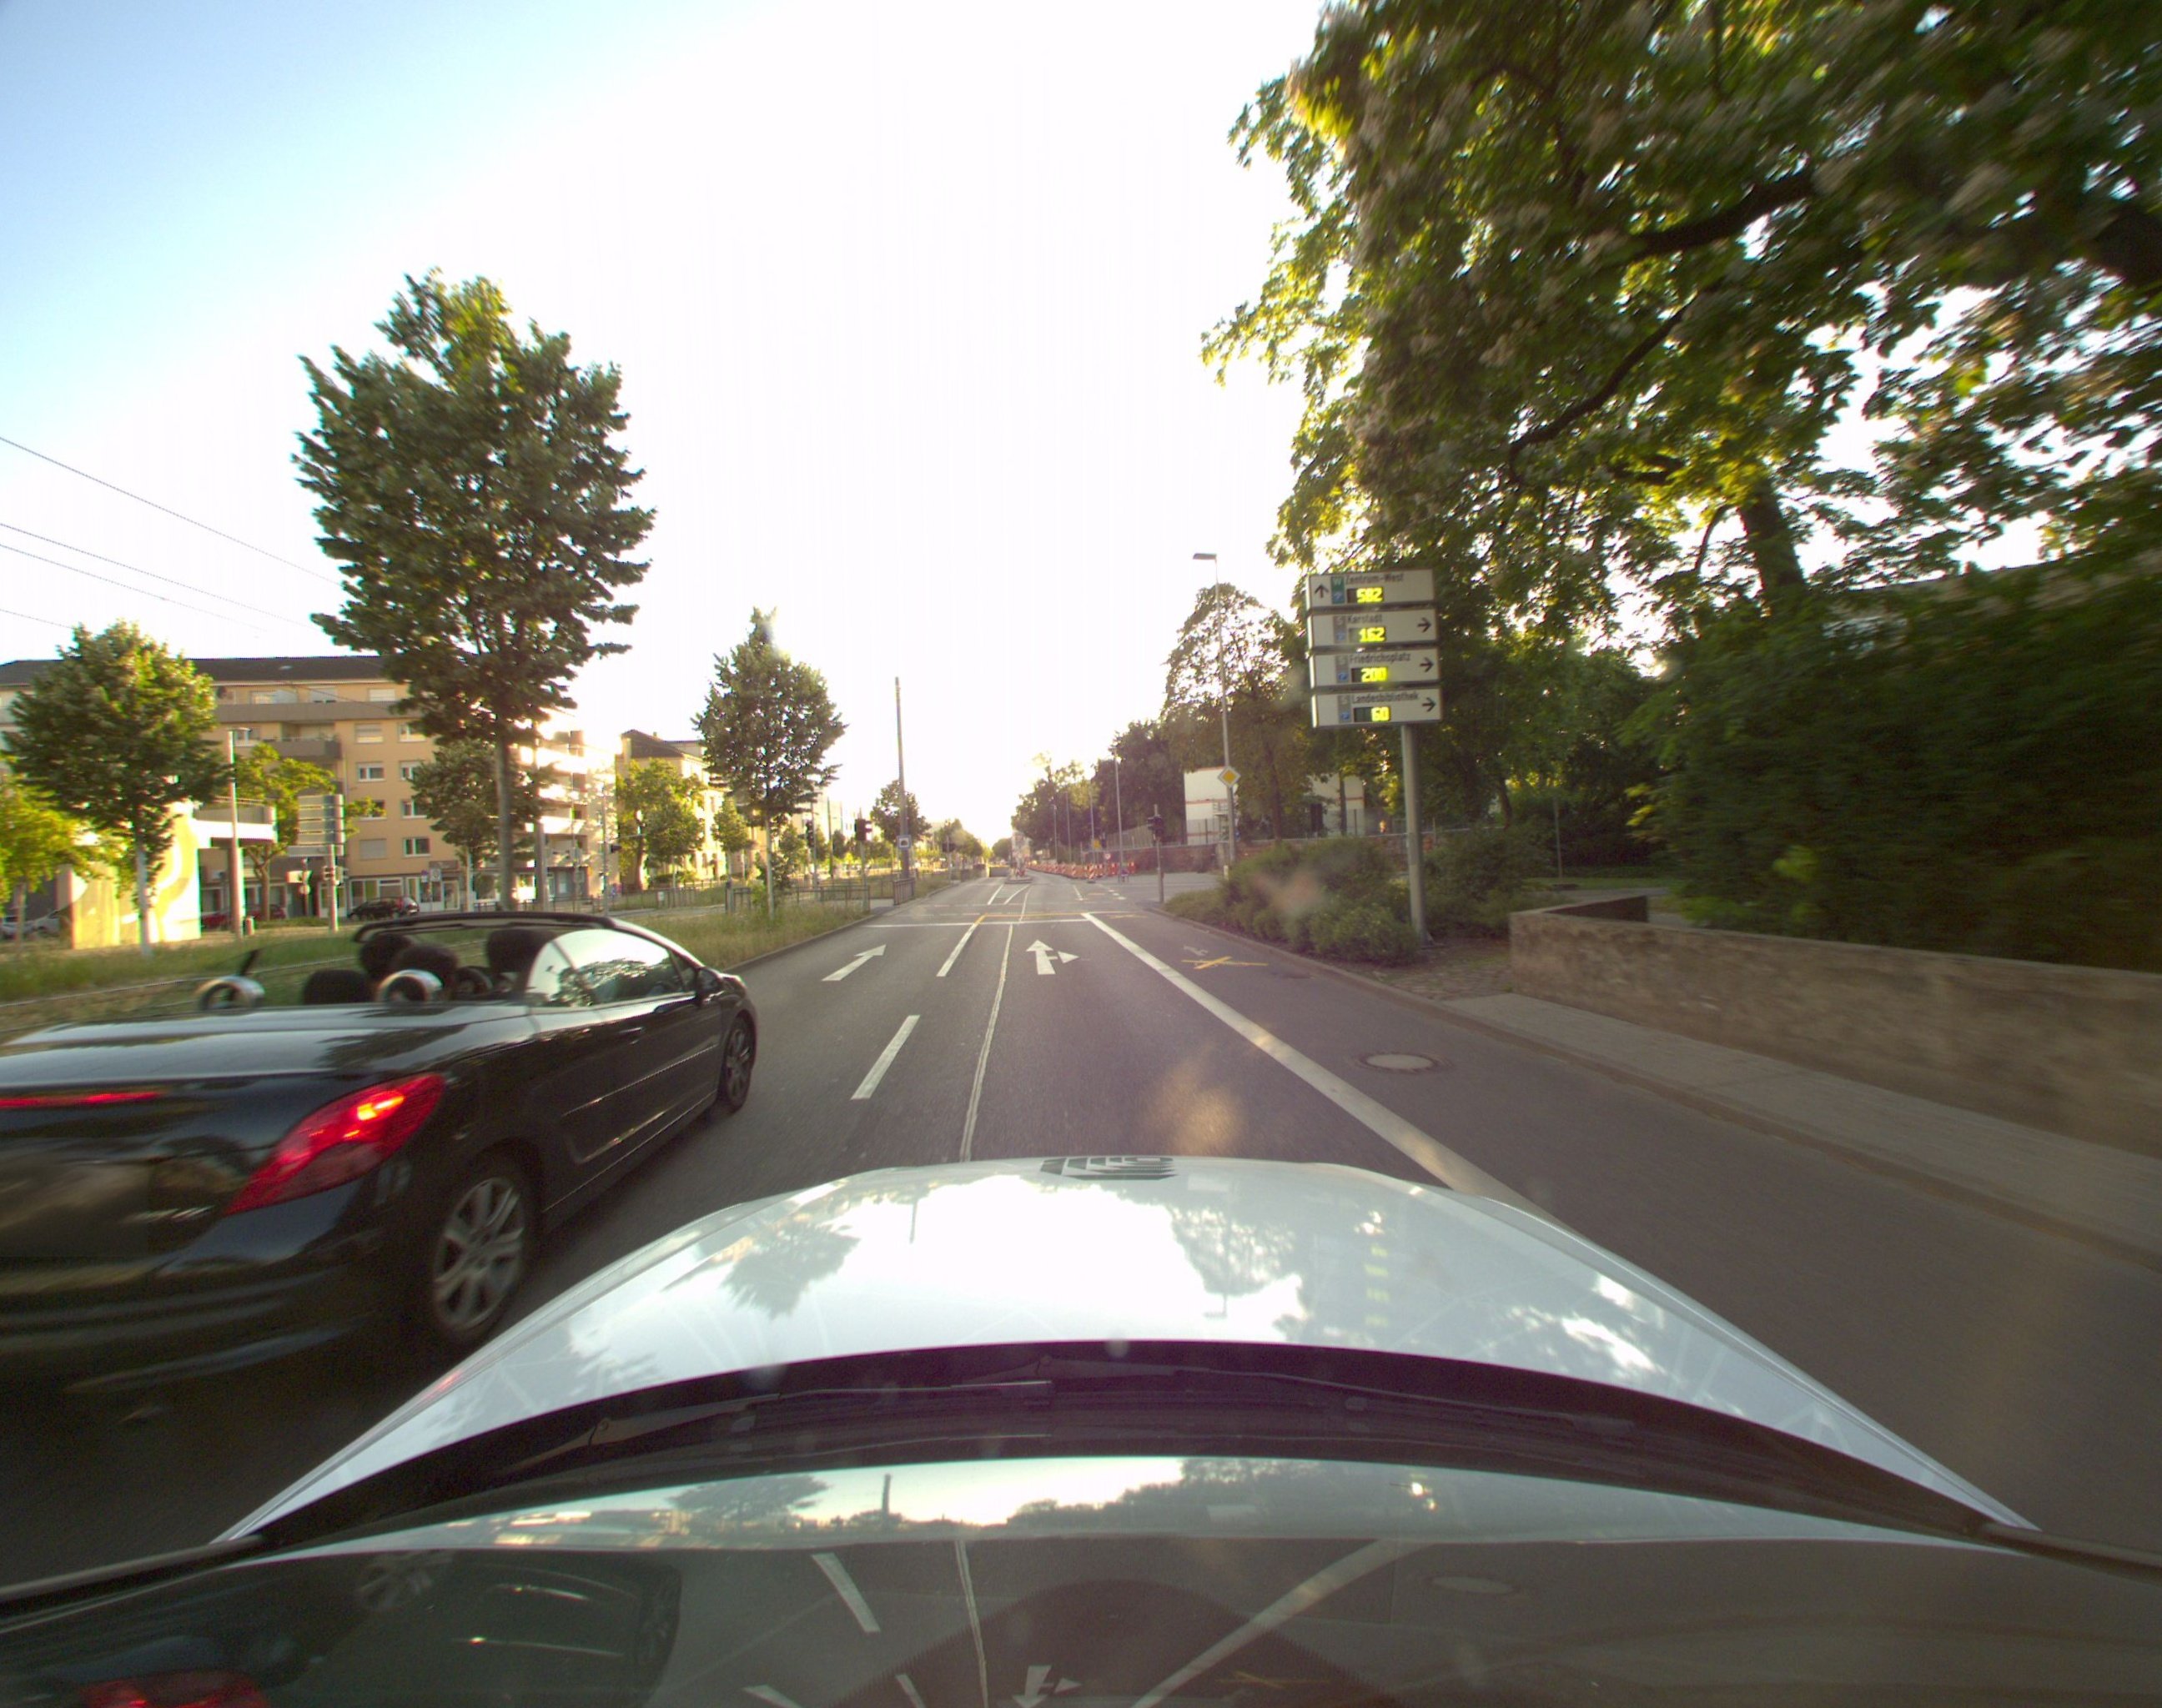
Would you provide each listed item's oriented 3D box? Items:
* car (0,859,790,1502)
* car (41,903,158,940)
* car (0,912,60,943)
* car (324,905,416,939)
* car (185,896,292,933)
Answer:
[{"bbox_3d":[-2.836,0.801,3.856,1.715,1.449,3.895,-2,0,-4],"label":"car"},{"bbox_3d":[-63.380,4.351,52.662,4.482,1.990,2.162,-3,0,-6],"label":"car"},{"bbox_3d":[-69.033,4.766,52.104,4.324,1.755,2.111,-3,0,-6],"label":"car"},{"bbox_3d":[-46.821,4.457,53.681,3.929,1.845,2.187,-3,-1,-6],"label":"car"},{"bbox_3d":[-55.467,3.951,53.698,4.324,1.769,2.162,-5,2,-7],"label":"car"}]
